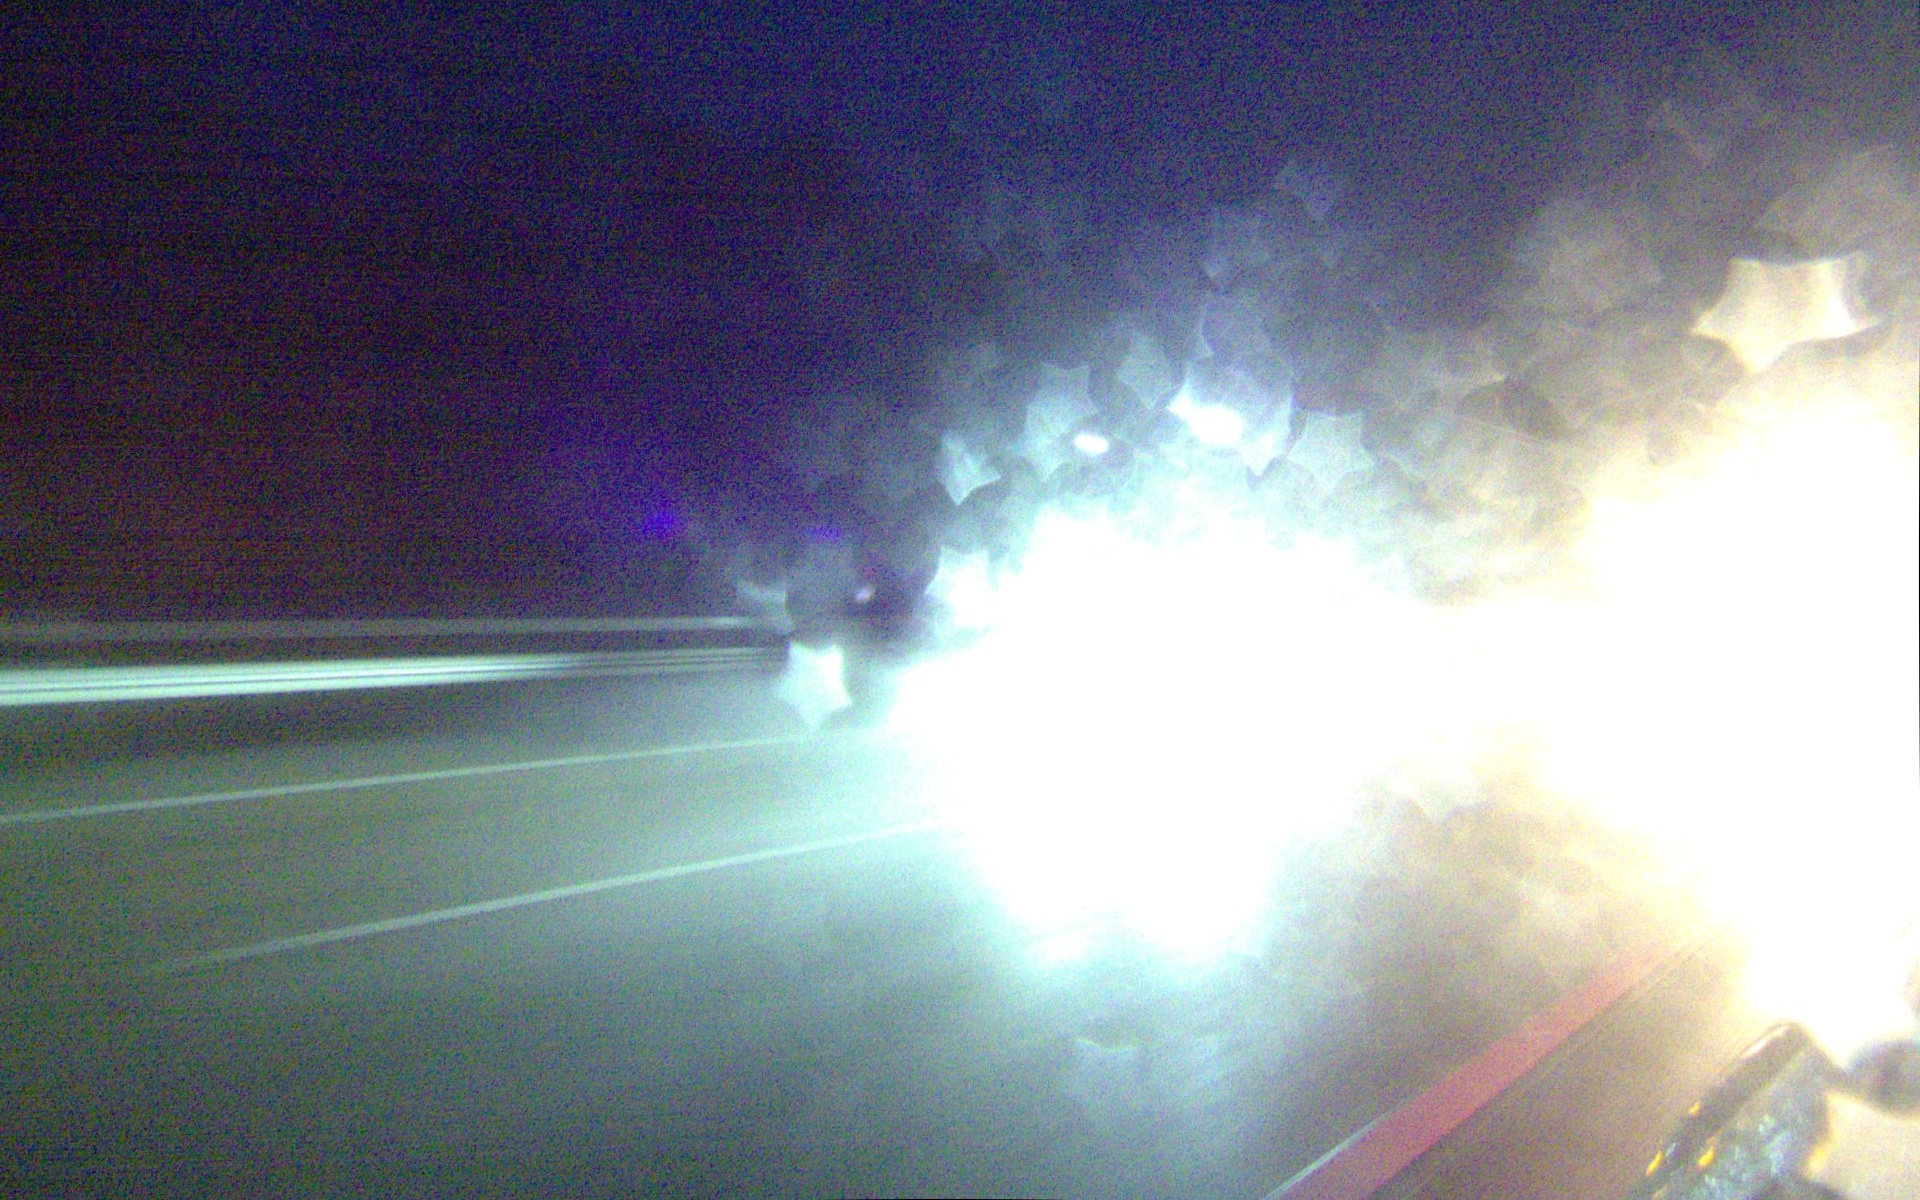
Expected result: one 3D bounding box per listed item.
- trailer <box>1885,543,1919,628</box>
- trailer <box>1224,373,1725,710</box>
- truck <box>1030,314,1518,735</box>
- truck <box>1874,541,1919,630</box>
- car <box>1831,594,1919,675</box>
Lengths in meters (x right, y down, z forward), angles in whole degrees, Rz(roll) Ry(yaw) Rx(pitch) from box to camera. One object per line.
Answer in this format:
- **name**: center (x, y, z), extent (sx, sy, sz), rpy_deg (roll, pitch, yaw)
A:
- **trailer**: center (52.335, -0.717, 54.161), extent (10.980, 4.246, 2.752), rpy_deg (0, 0, -40)
- **trailer**: center (9.875, -0.764, 17.885), extent (13.398, 4.149, 2.870), rpy_deg (0, 0, -40)
- **truck**: center (4.386, -0.752, 13.297), extent (6.889, 4.155, 2.865), rpy_deg (0, 0, -40)
- **truck**: center (48.174, -0.705, 50.678), extent (5.909, 4.246, 2.777), rpy_deg (0, 0, -40)
- **car**: center (19.135, 0.637, 20.551), extent (3.700, 1.522, 1.619), rpy_deg (0, 0, -40)
